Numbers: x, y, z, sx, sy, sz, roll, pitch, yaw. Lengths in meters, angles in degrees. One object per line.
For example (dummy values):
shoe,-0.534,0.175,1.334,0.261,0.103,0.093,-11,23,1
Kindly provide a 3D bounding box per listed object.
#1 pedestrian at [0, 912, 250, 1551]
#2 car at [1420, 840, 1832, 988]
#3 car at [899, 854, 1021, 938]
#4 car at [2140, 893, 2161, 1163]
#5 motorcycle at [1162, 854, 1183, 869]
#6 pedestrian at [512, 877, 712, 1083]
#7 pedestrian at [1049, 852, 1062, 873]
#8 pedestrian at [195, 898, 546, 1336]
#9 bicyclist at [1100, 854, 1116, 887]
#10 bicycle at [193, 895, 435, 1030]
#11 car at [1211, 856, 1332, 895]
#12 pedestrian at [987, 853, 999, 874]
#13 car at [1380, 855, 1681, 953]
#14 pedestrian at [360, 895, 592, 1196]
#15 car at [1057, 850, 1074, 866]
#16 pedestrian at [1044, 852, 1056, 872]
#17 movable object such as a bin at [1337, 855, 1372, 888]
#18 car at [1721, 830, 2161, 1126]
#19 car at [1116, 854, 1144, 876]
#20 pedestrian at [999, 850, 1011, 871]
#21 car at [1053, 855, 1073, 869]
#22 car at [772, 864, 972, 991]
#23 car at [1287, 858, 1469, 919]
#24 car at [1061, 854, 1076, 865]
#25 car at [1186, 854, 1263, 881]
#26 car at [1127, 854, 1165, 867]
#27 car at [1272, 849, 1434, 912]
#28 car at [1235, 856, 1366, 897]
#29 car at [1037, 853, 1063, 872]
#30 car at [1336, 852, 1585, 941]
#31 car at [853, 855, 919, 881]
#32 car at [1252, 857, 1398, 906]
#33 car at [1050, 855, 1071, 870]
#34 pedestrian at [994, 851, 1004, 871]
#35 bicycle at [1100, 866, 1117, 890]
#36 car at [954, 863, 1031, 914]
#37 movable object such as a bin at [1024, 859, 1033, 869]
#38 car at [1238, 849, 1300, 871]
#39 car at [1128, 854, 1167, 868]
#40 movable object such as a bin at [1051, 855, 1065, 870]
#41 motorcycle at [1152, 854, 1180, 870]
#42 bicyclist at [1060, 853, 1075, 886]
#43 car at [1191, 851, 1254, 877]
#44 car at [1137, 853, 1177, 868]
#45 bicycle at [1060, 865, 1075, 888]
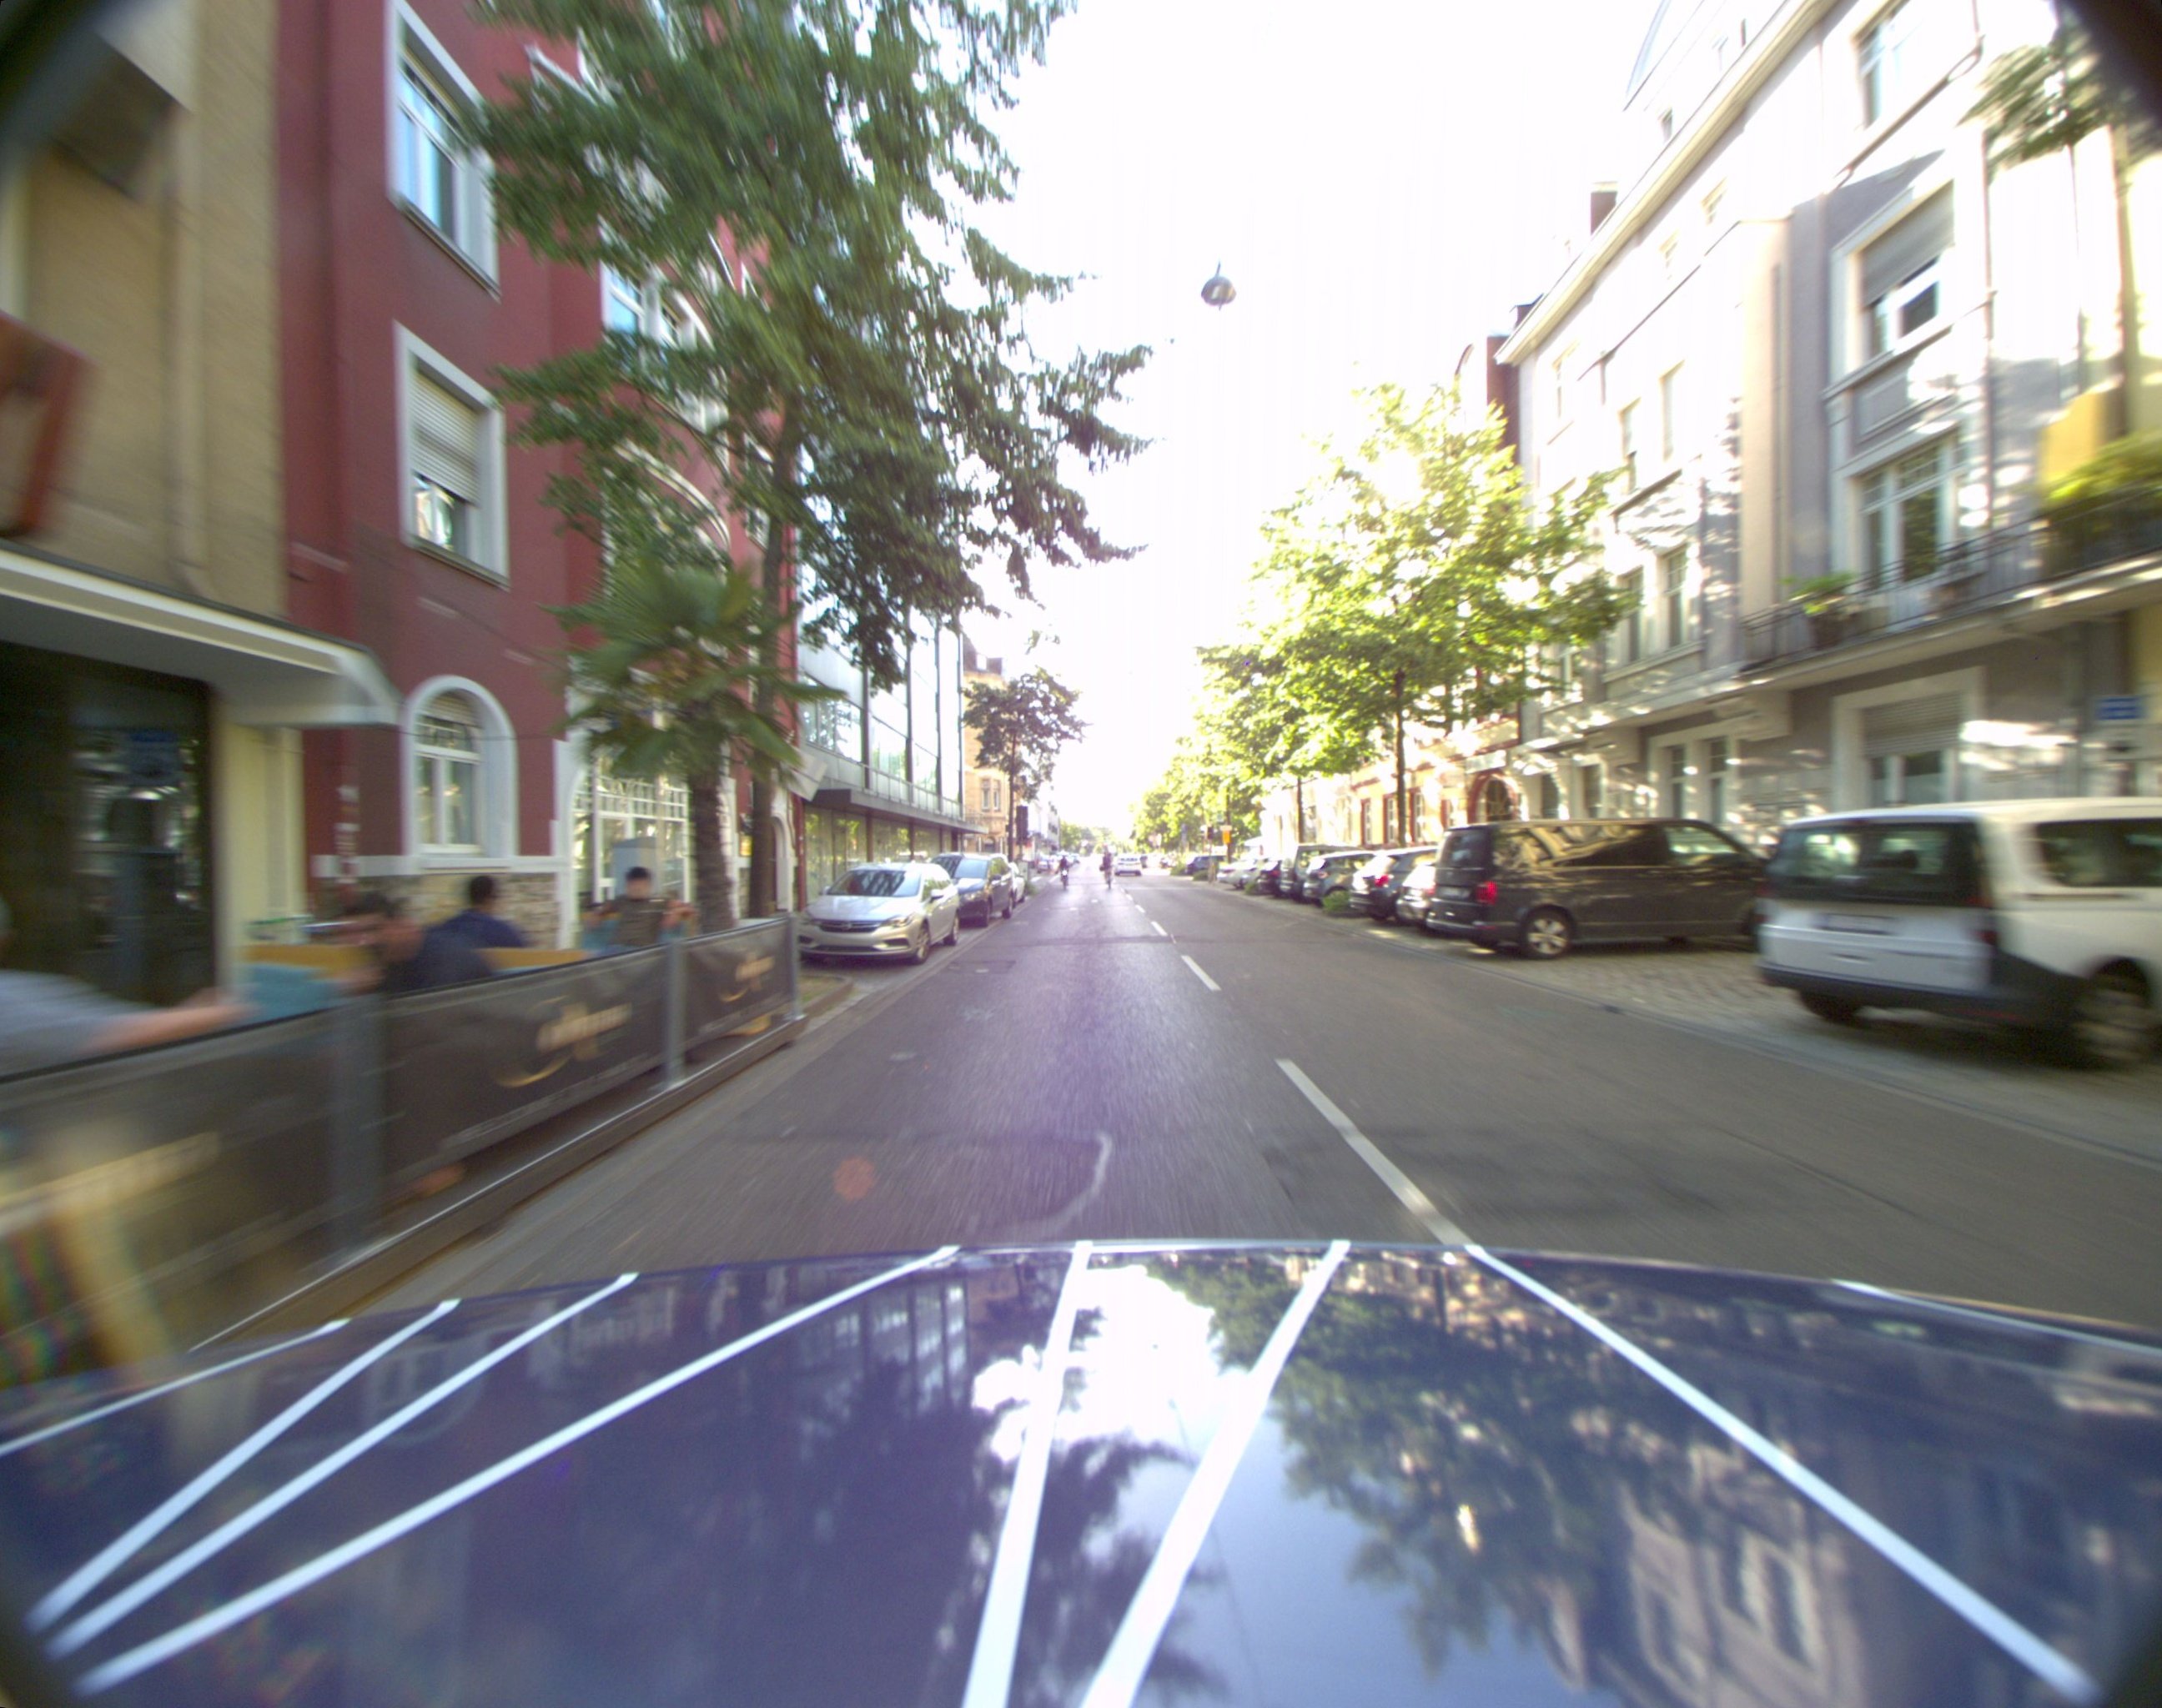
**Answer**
pedestrian,-2.984,0.949,1.933,0.652,1.527,0.980,0,0,-1
car,7.669,0.806,11.090,4.584,1.915,1.930,-1,0,2
car,-2.833,0.919,18.972,1.826,1.767,4.932,2,0,5
car,7.887,0.895,3.109,4.350,1.430,1.917,-1,0,1
motorcycle,8.471,0.704,70.168,1.750,1.415,0.831,-1,1,27
pedestrian,-3.780,0.963,6.211,1.058,1.527,0.892,0,0,5
pedestrian,-2.151,0.685,63.290,0.693,1.709,0.897,2,1,25
pedestrian,-2.953,0.980,3.232,0.750,1.527,0.808,0,1,16
bicyclist,1.305,0.761,36.338,0.718,1.553,0.864,-1,1,0
bicycle,-6.923,0.924,6.991,0.475,0.996,1.701,0,0,1
car,8.275,0.906,33.231,4.712,1.483,1.999,-2,1,-3
pedestrian,-7.152,0.743,61.753,0.618,1.683,0.717,0,1,28
car,7.990,0.846,13.813,4.350,1.586,1.916,-1,0,-1
pedestrian,-3.412,1.022,4.360,0.694,1.527,0.776,0,1,2
car,-1.988,0.462,97.970,1.999,1.942,5.100,2,0,-1
pedestrian,-2.617,0.674,63.914,0.699,1.709,0.693,2,1,-22
movable object such as a bin,12.407,0.793,34.518,1.136,1.436,1.382,-1,0,4
car,7.814,0.742,5.836,4.352,1.823,1.916,-1,0,-5
car,3.572,0.786,55.904,1.915,1.535,4.353,1,1,2
pedestrian,-6.078,0.541,60.970,0.617,1.682,0.677,3,3,45
car,-2.070,0.917,88.612,1.998,1.482,4.000,2,0,1
car,-3.156,1.018,12.614,1.826,1.587,4.842,2,0,1
car,8.257,0.928,21.303,4.353,1.535,1.915,-1,0,-7
car,-1.744,0.766,107.944,1.998,1.444,3.955,2,0,0
car,8.615,0.828,46.001,4.349,1.535,1.945,-1,0,3
car,7.726,0.792,90.193,4.005,1.465,1.996,-1,0,-25
car,8.421,0.800,23.780,4.351,1.813,1.929,-1,0,-2
car,8.926,0.894,31.110,4.712,1.483,2.000,-2,-1,-3
car,-2.750,0.753,67.470,1.978,1.565,4.127,2,0,1
car,7.953,0.850,16.219,4.350,1.723,1.916,-1,0,-1
car,-14.025,1.007,54.590,4.323,1.761,1.996,-1,0,-23
car,8.342,0.910,26.226,4.352,1.535,1.963,-1,0,-6
car,-2.244,0.903,84.478,1.998,1.565,4.000,2,0,1
pedestrian,-6.802,0.584,62.781,0.498,1.683,0.717,0,1,28
bicycle,1.304,1.136,36.522,0.718,1.105,2.269,-1,0,0
car,-2.846,1.073,25.405,1.826,1.394,4.842,2,0,2
movable object such as a bin,-5.365,1.042,78.284,0.725,1.042,0.664,3,-1,11
car,16.986,0.576,68.699,5.336,1.933,2.070,1,0,-25
car,7.636,0.783,87.046,4.006,1.433,1.995,-1,0,-30
movable object such as a bin,-2.365,0.872,77.848,1.147,1.413,1.411,3,1,5
motorcycle,7.795,0.755,69.369,2.316,1.415,1.002,-1,0,28
bicyclist,-0.669,0.756,37.191,0.658,1.562,0.909,-1,1,1
car,9.554,0.677,51.564,3.996,1.630,1.945,-1,0,3
car,8.503,0.719,84.813,4.006,1.553,1.995,-1,0,-30
bicycle,-0.657,1.069,37.160,0.666,1.061,1.836,-1,0,1
